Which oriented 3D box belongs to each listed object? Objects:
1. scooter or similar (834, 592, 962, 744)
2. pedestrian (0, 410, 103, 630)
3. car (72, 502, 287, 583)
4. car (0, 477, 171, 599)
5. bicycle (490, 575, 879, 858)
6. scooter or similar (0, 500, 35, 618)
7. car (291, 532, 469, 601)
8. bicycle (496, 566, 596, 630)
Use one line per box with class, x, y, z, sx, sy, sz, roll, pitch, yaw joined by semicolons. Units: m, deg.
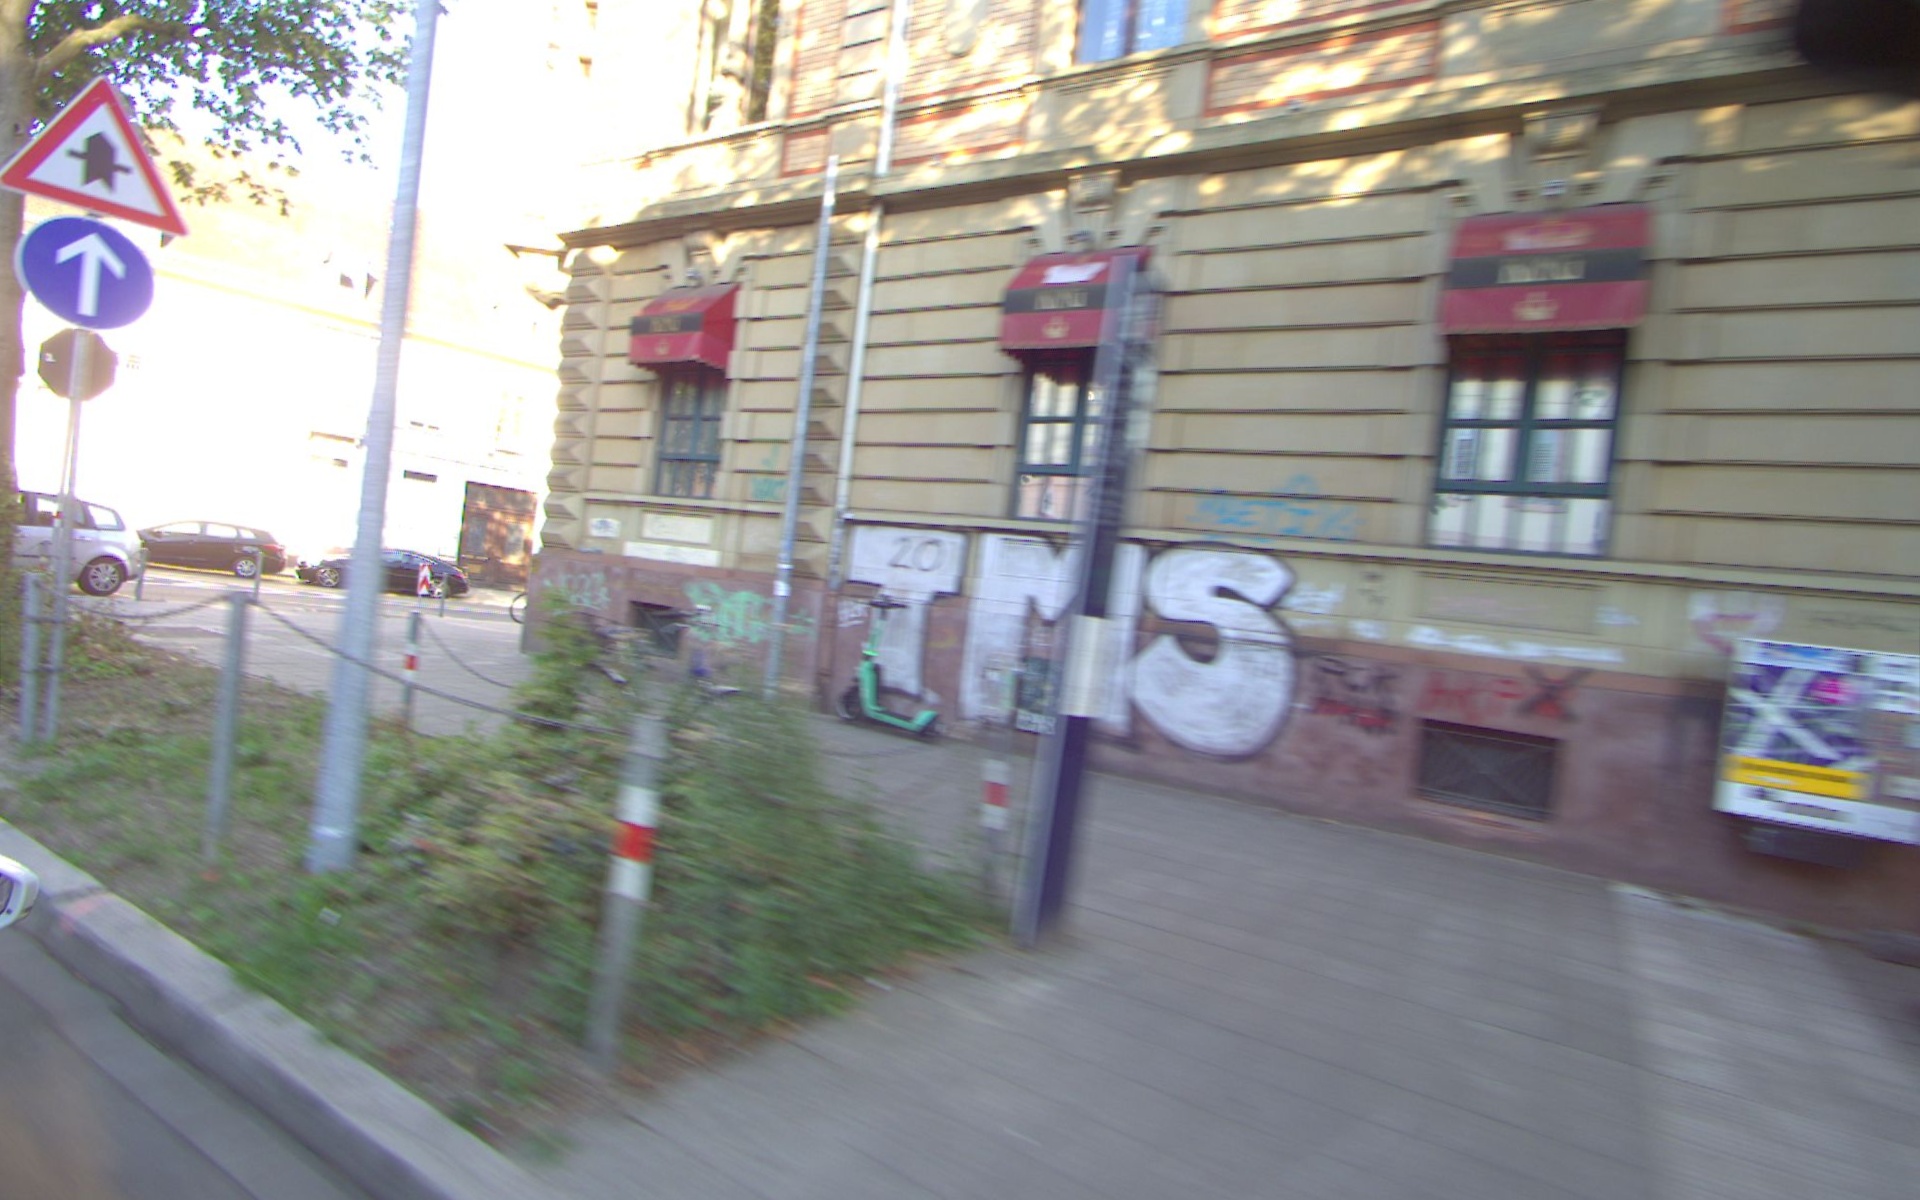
scooter or similar;-0.570;0.593;9.062;1.074;1.209;0.251;8;1;33
pedestrian;-10.062;-0.851;10.647;1.046;2.171;1.045;6;-1;32
car;-21.333;-1.549;27.766;4.380;1.561;1.851;8;0;-33
car;-14.865;-1.050;15.164;1.850;1.674;4.355;7;-1;13
bicycle;-1.583;0.565;5.583;2.210;1.166;0.524;7;1;28
scooter or similar;-10.473;-0.460;10.512;0.498;1.259;1.271;7;0;-11
car;-17.574;-1.000;30.557;4.476;1.387;1.757;8;2;-35
bicycle;-8.954;-0.033;21.835;1.805;1.148;0.825;7;-1;-16
